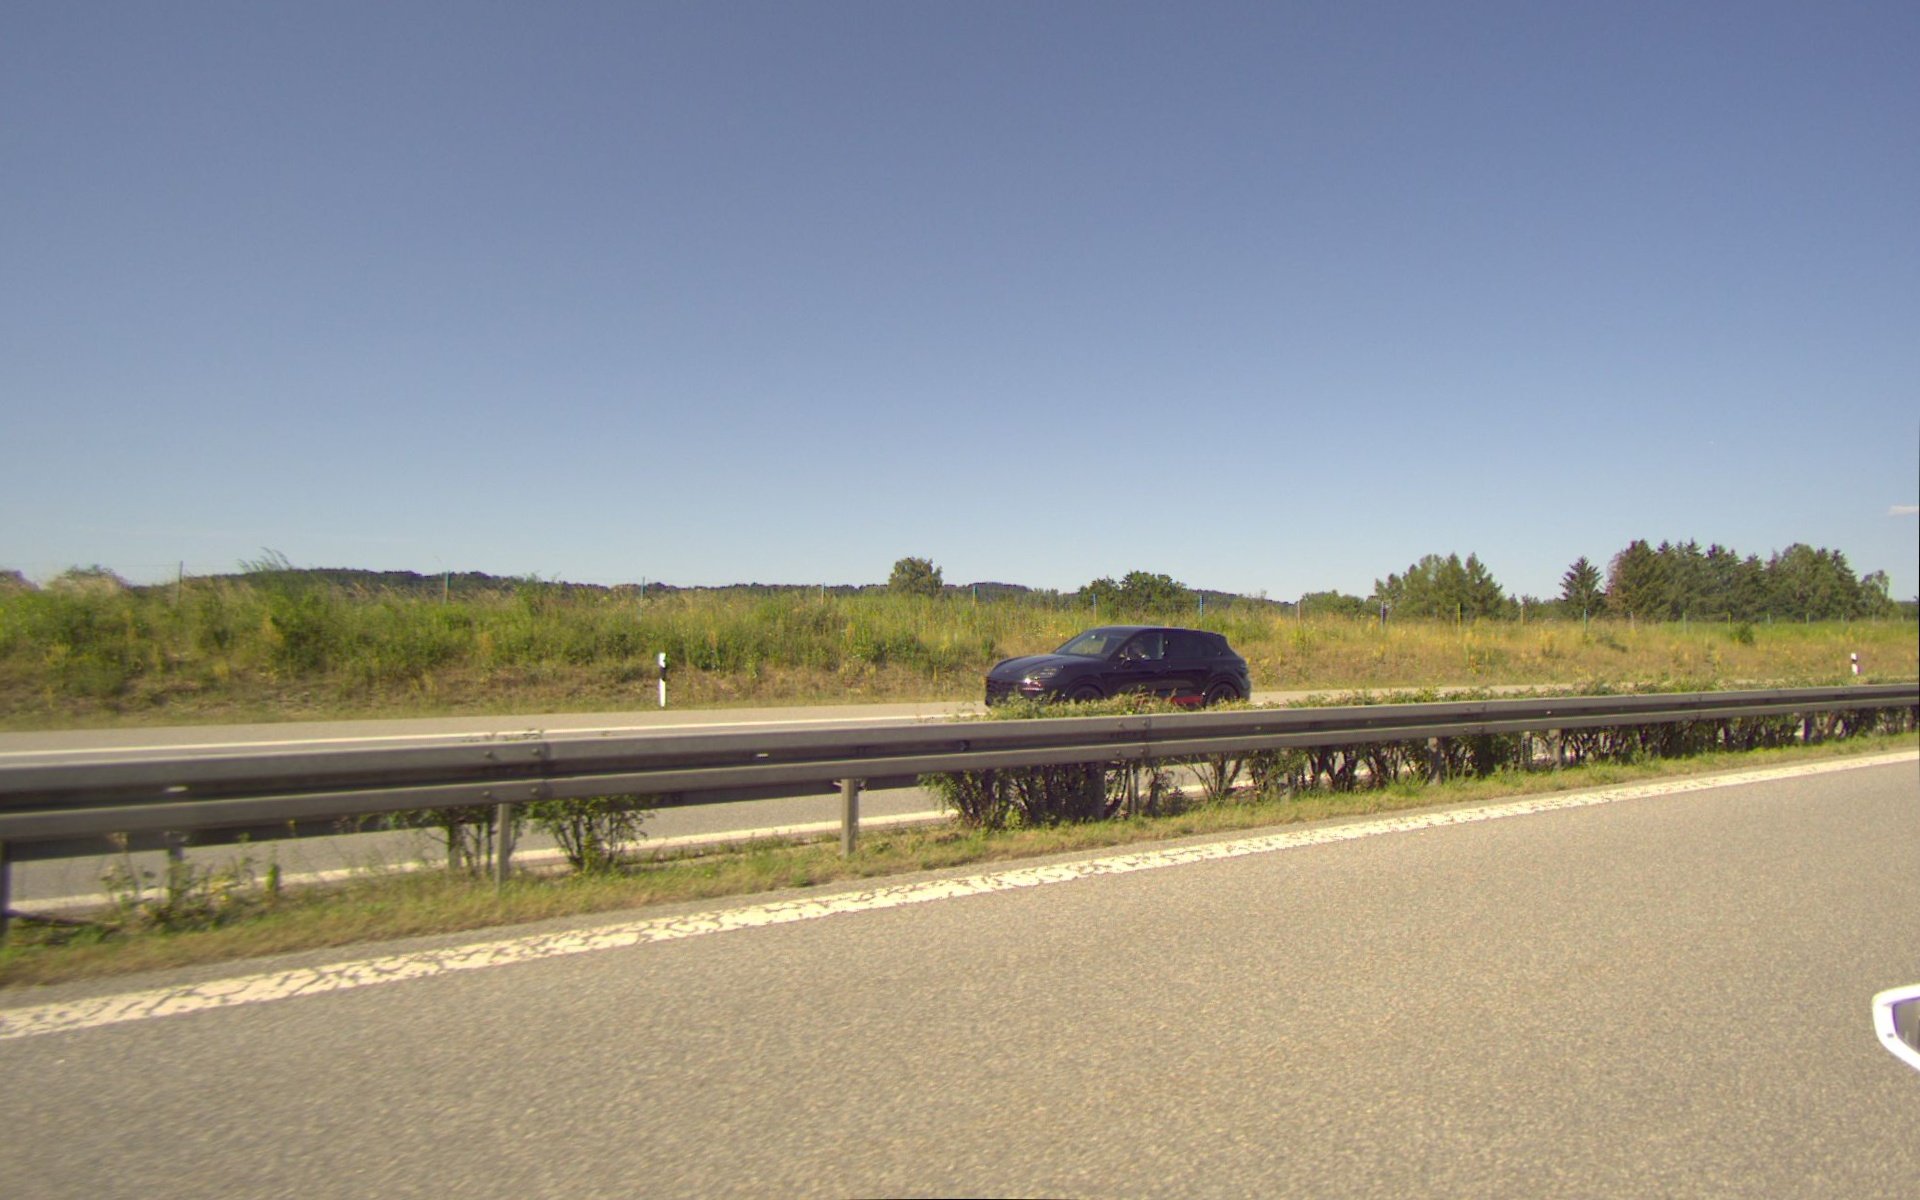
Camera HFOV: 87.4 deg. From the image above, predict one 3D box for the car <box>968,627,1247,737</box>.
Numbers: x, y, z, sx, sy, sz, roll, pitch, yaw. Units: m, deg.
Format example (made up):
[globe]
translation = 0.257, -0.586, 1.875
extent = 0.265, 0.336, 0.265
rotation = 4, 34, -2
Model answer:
[car]
translation = 2.486, 1.246, 16.596
extent = 4.413, 1.573, 1.823
rotation = 1, -1, -30
